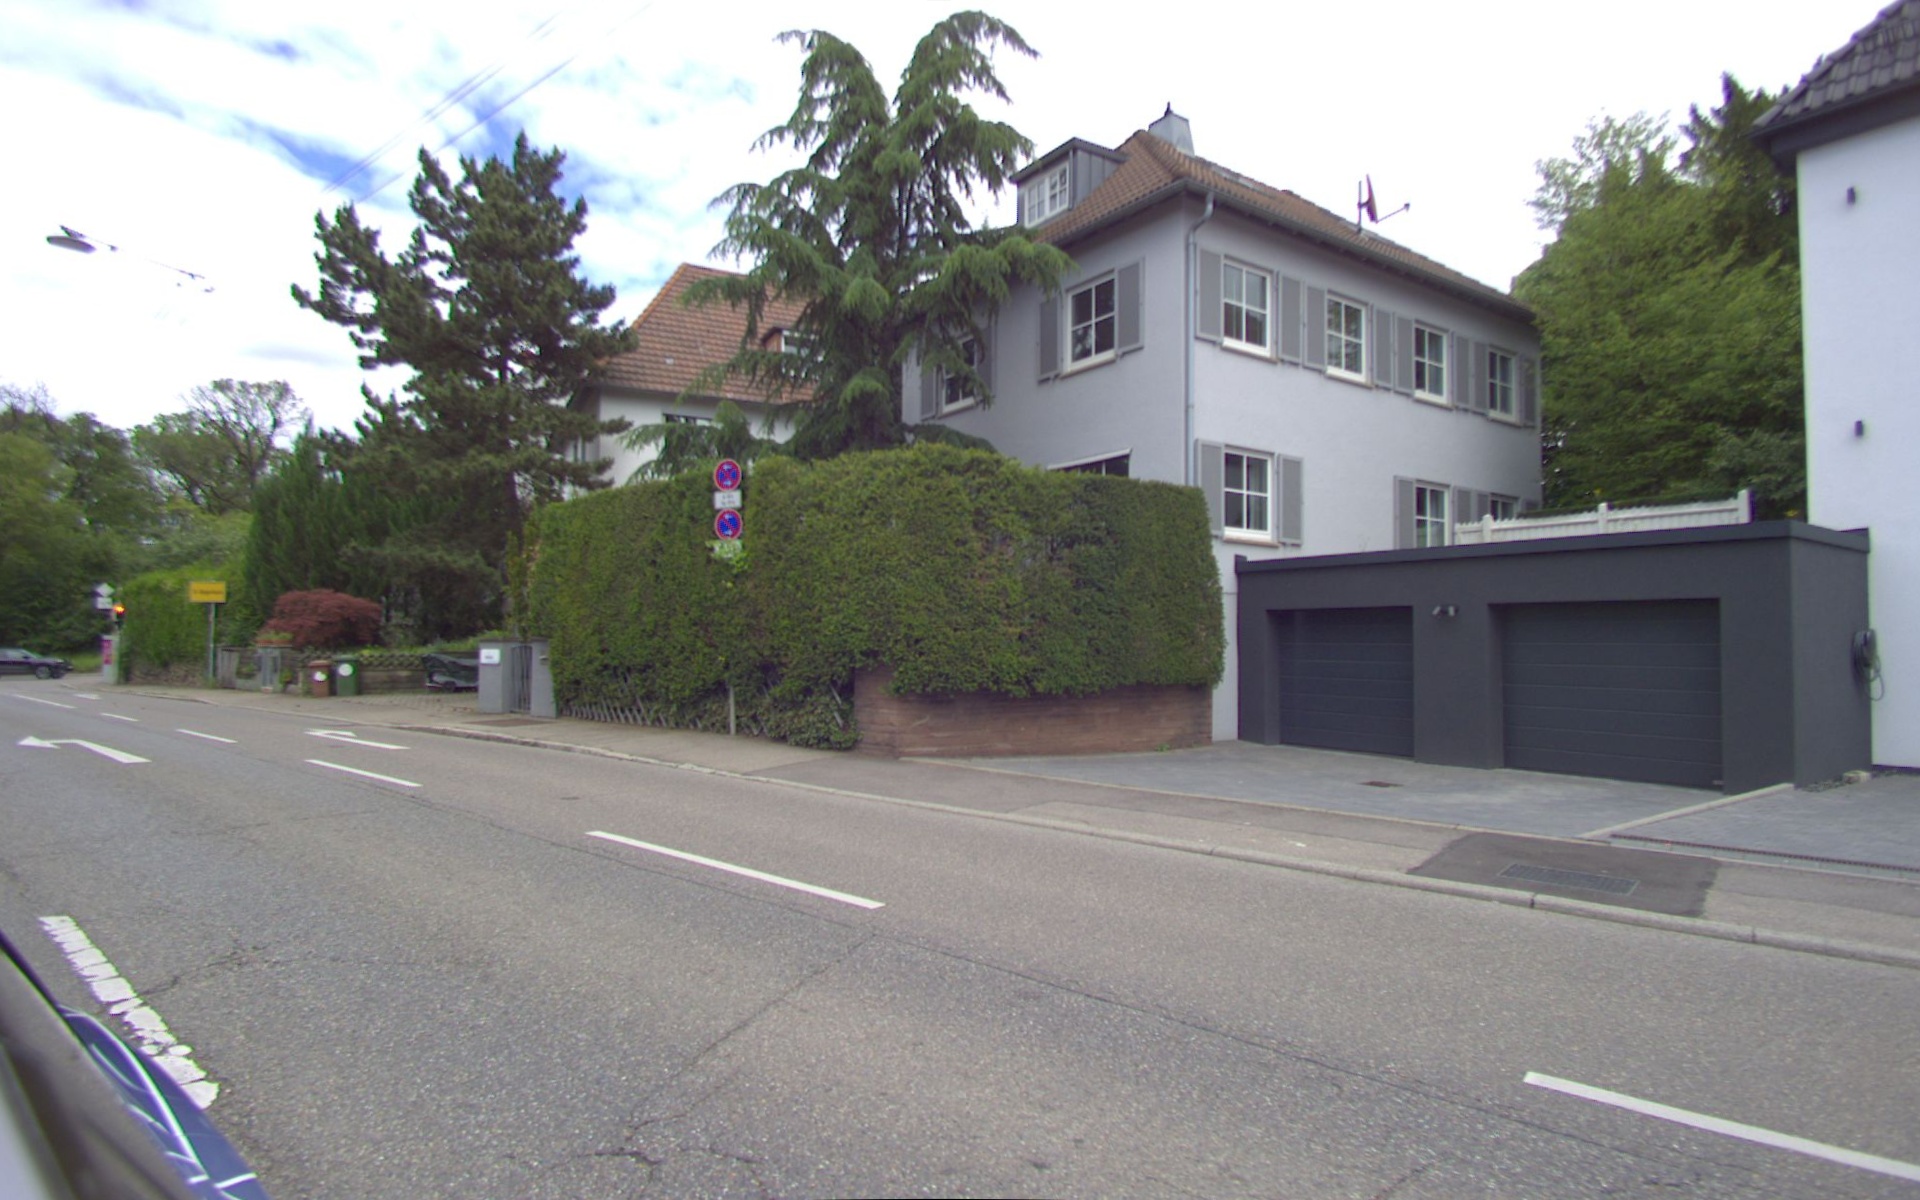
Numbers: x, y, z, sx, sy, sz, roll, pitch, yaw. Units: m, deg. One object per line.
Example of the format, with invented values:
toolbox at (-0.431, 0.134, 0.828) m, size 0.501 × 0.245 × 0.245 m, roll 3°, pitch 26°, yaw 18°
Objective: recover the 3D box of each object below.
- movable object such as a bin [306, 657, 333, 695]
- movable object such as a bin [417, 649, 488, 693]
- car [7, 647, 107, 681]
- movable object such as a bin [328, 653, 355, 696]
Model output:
movable object such as a bin at (-16.312, 1.924, 25.770) m, size 0.457 × 0.949 × 0.649 m, roll 0°, pitch -2°, yaw -21°
movable object such as a bin at (-13.334, 1.864, 26.622) m, size 1.570 × 1.089 × 0.719 m, roll 0°, pitch -2°, yaw -18°
car at (-45.062, 3.168, 50.529) m, size 3.610 × 1.607 × 1.665 m, roll 2°, pitch -4°, yaw -44°
movable object such as a bin at (-15.843, 1.898, 25.925) m, size 0.472 × 1.042 × 0.718 m, roll 0°, pitch -2°, yaw -21°
